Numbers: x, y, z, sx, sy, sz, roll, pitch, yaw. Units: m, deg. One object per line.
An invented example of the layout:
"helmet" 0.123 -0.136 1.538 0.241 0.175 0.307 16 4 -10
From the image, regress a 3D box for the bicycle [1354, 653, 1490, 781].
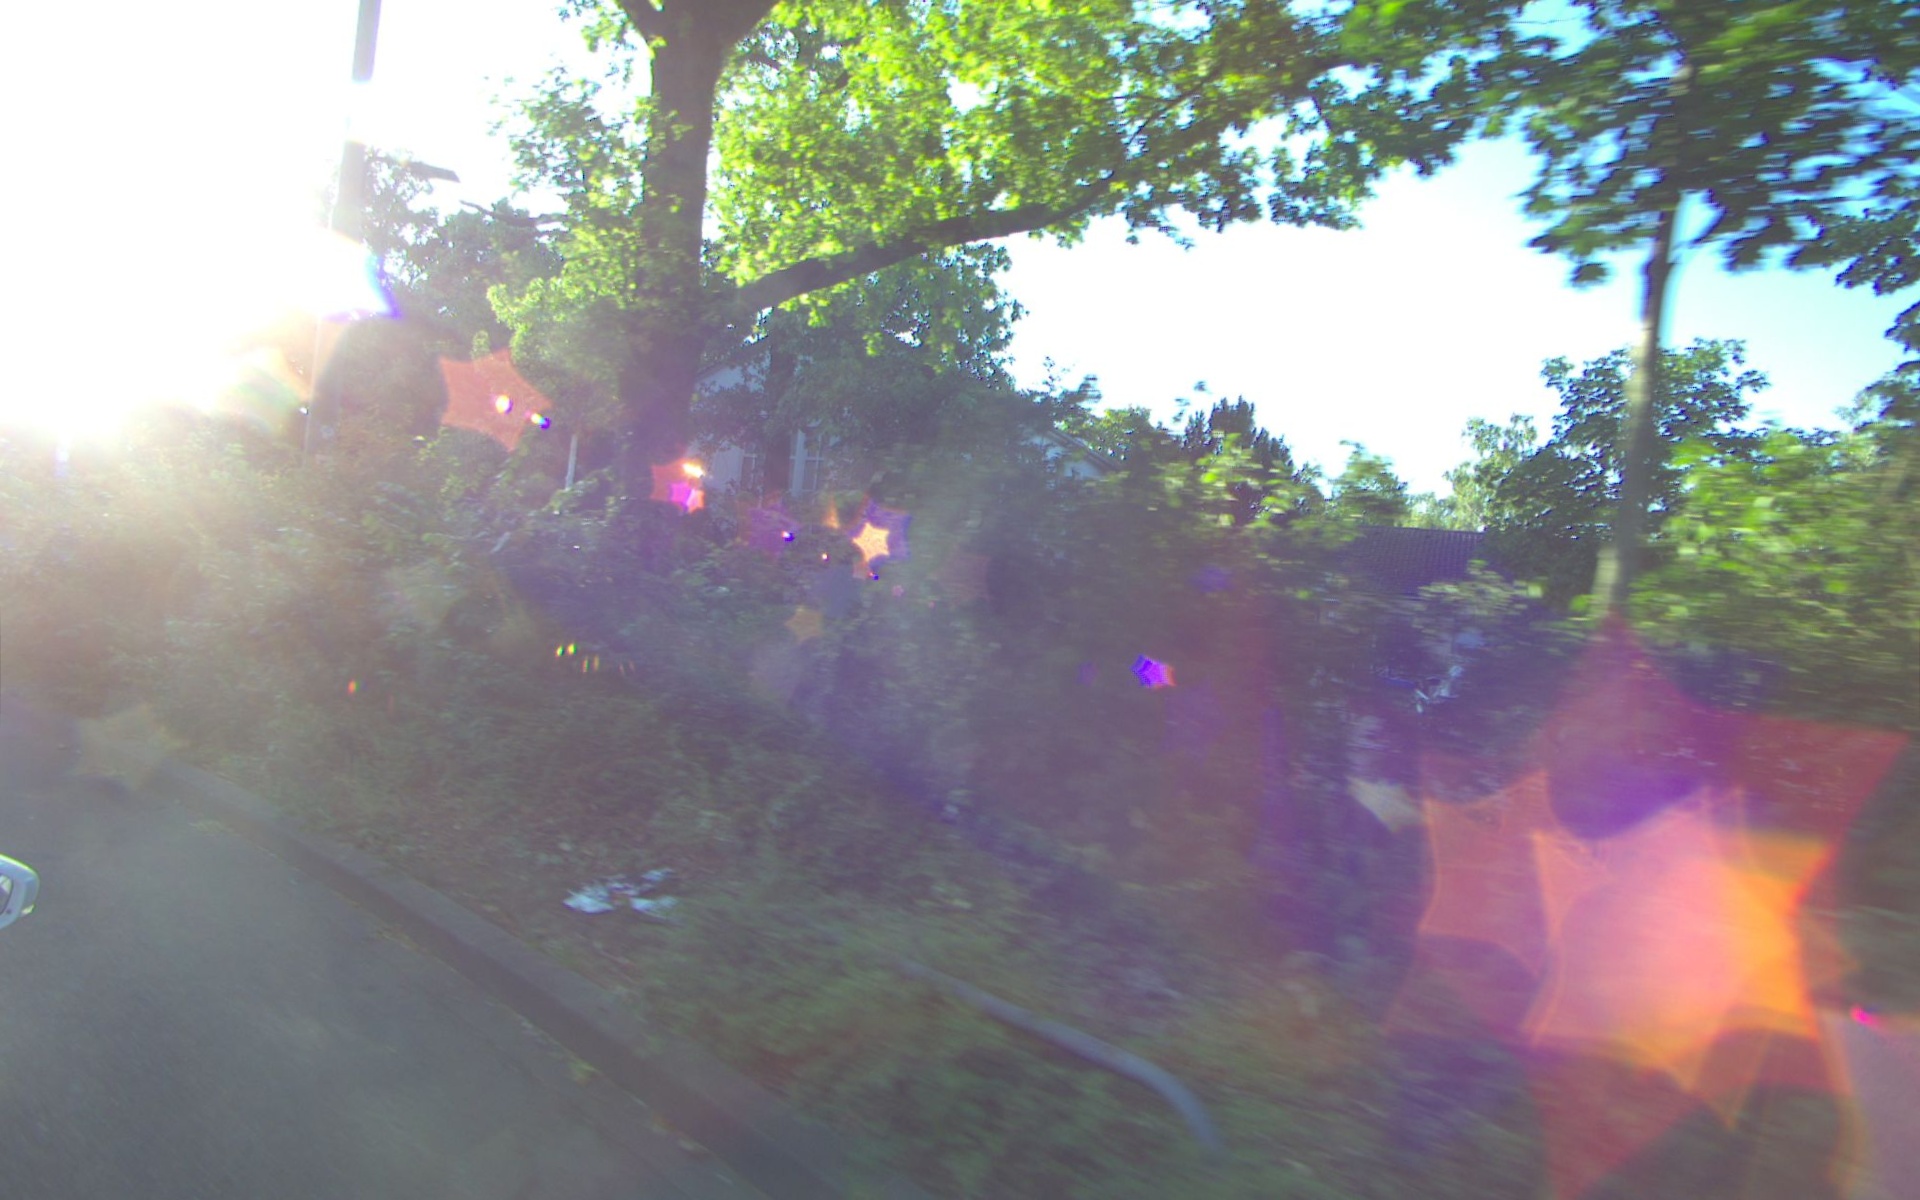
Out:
"bicycle" 5.492 1.333 12.145 0.737 1.236 2.452 6 0 9

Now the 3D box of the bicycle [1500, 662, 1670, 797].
"bicycle" 7.511 1.499 12.271 0.737 1.314 2.452 6 0 9
